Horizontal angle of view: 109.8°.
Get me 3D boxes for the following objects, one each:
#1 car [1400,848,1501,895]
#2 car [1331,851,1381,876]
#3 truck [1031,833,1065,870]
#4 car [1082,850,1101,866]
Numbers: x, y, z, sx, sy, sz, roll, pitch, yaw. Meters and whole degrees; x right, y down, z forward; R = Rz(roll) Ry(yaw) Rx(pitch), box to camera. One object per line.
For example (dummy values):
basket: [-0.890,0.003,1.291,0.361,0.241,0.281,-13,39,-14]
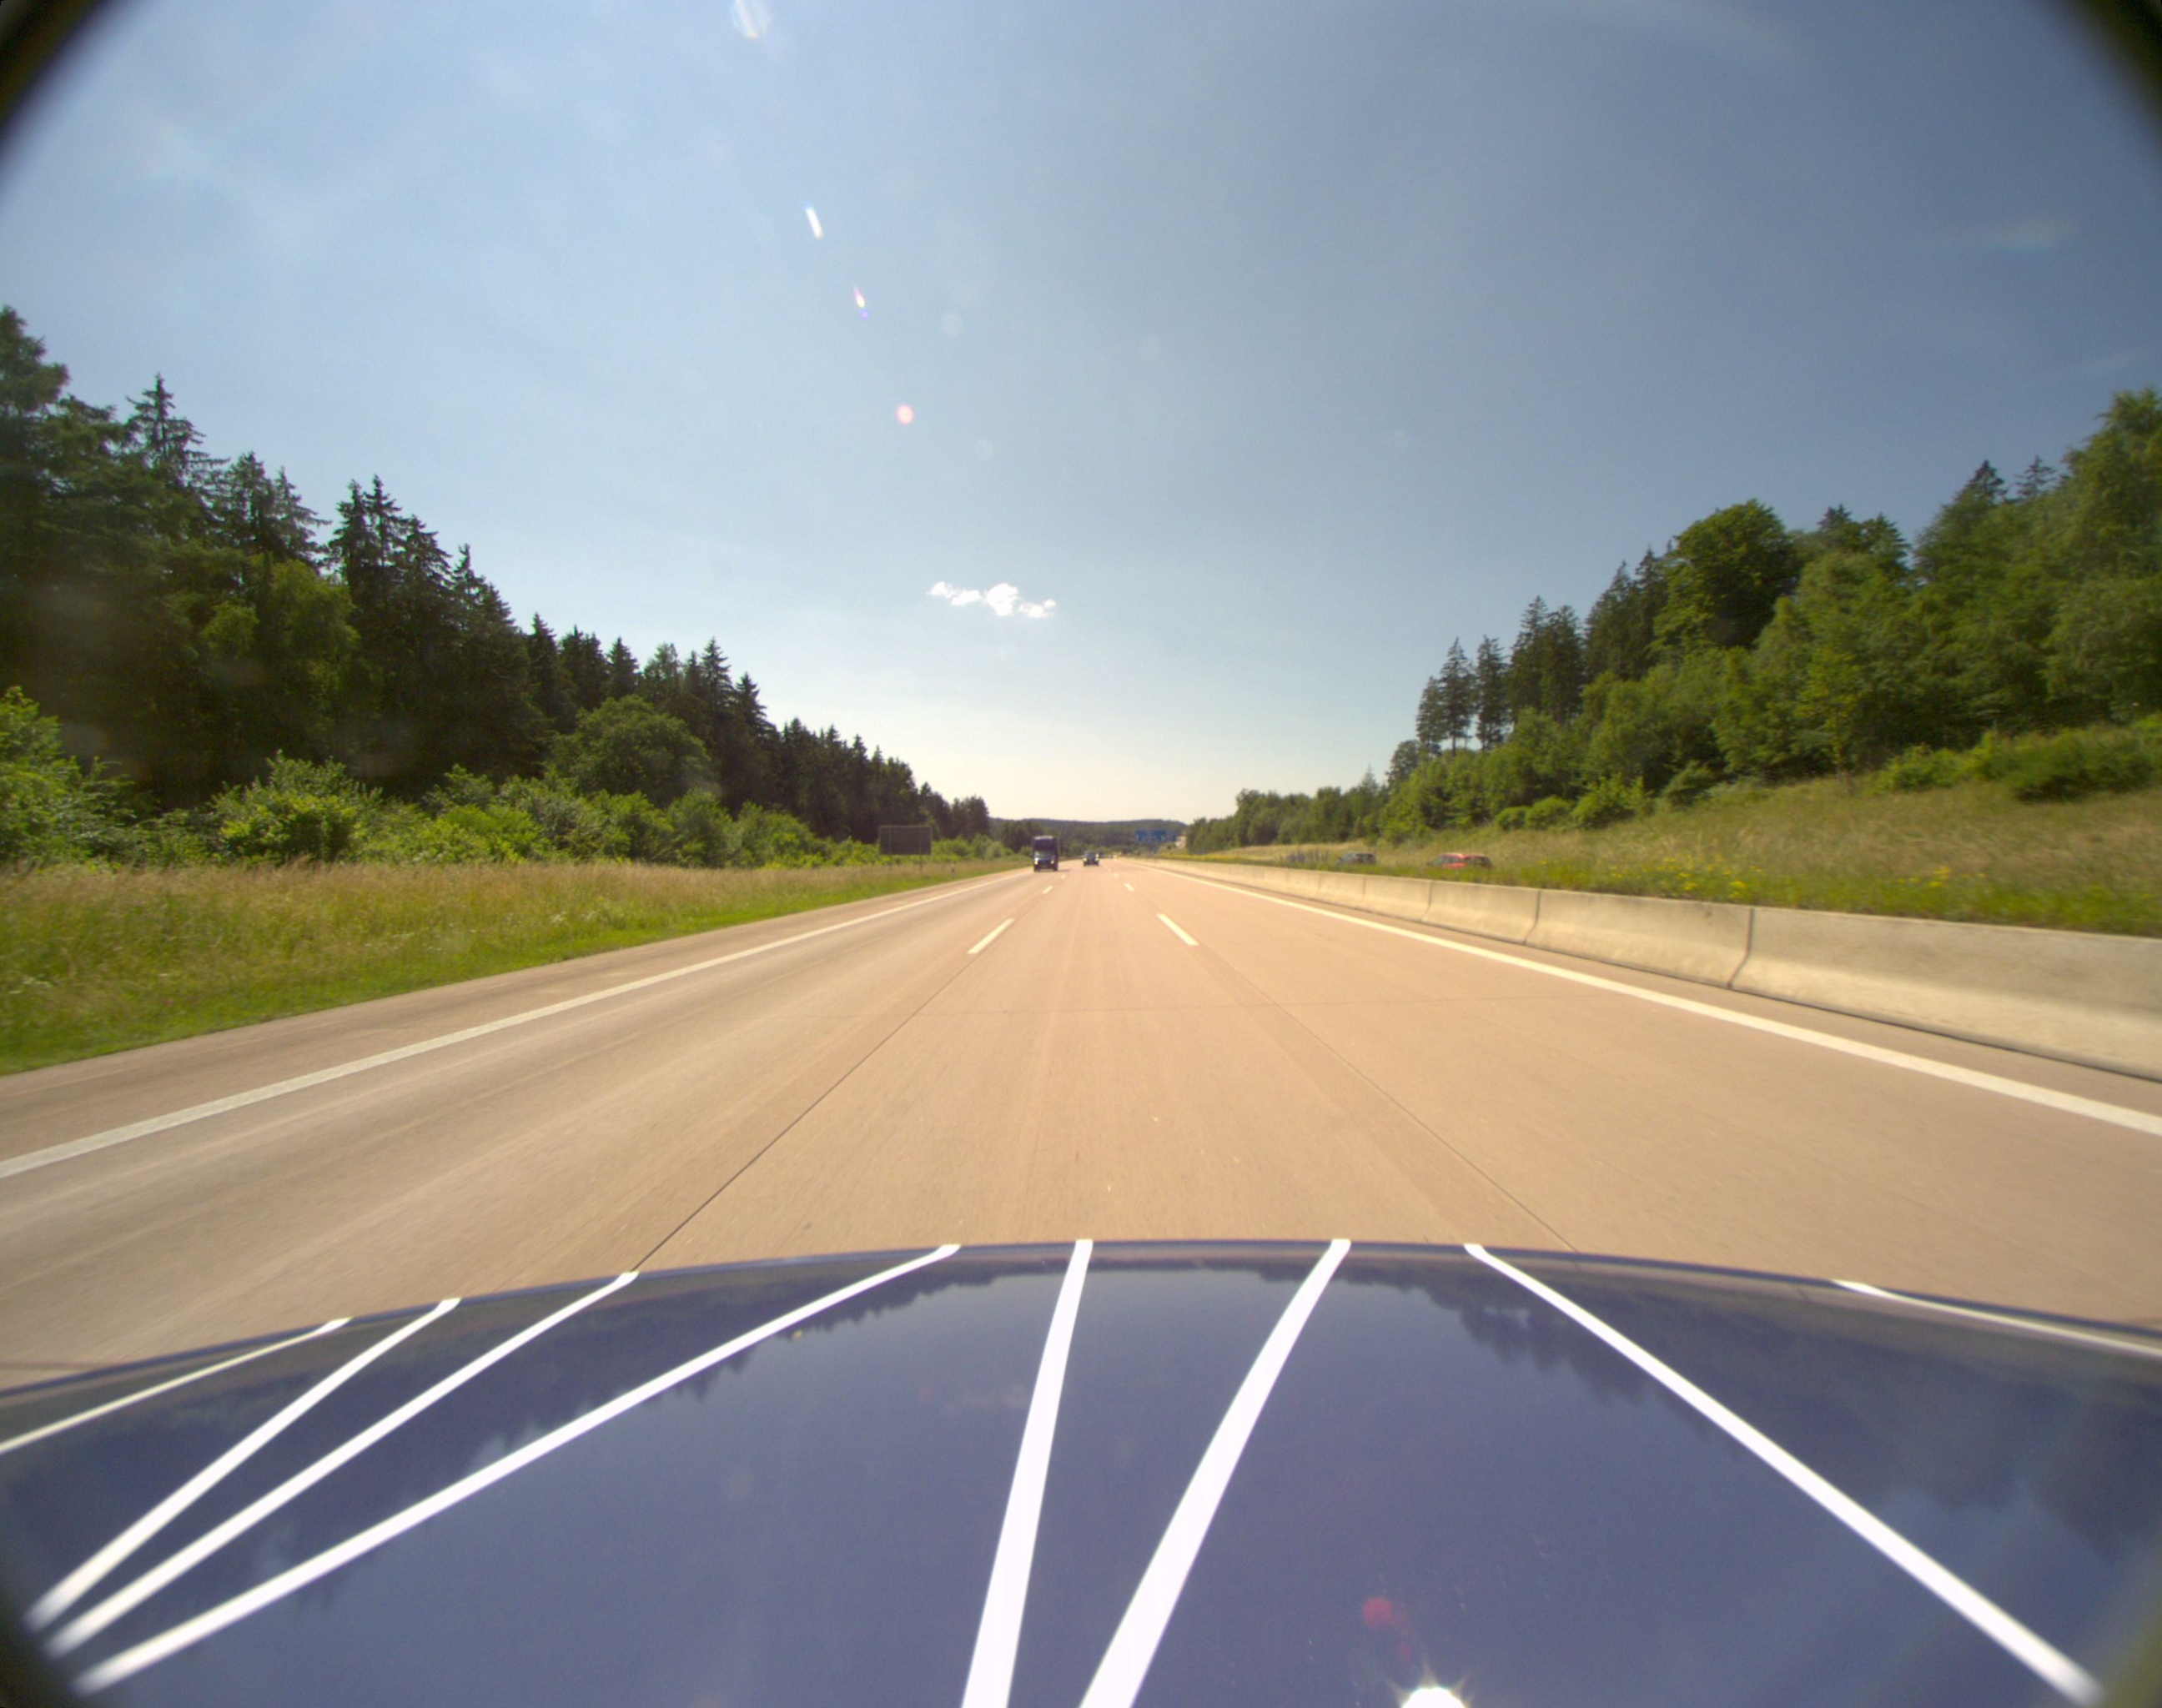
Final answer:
car: [14.995,0.653,31.140,1.896,1.728,4.463,-2,0,-1]
car: [19.776,0.651,54.880,1.896,1.728,4.463,-1,0,-1]
truck: [-3.025,-0.207,71.565,2.508,3.199,7.785,-2,0,2]
car: [1.312,0.499,91.974,1.998,1.805,4.565,-2,0,3]
